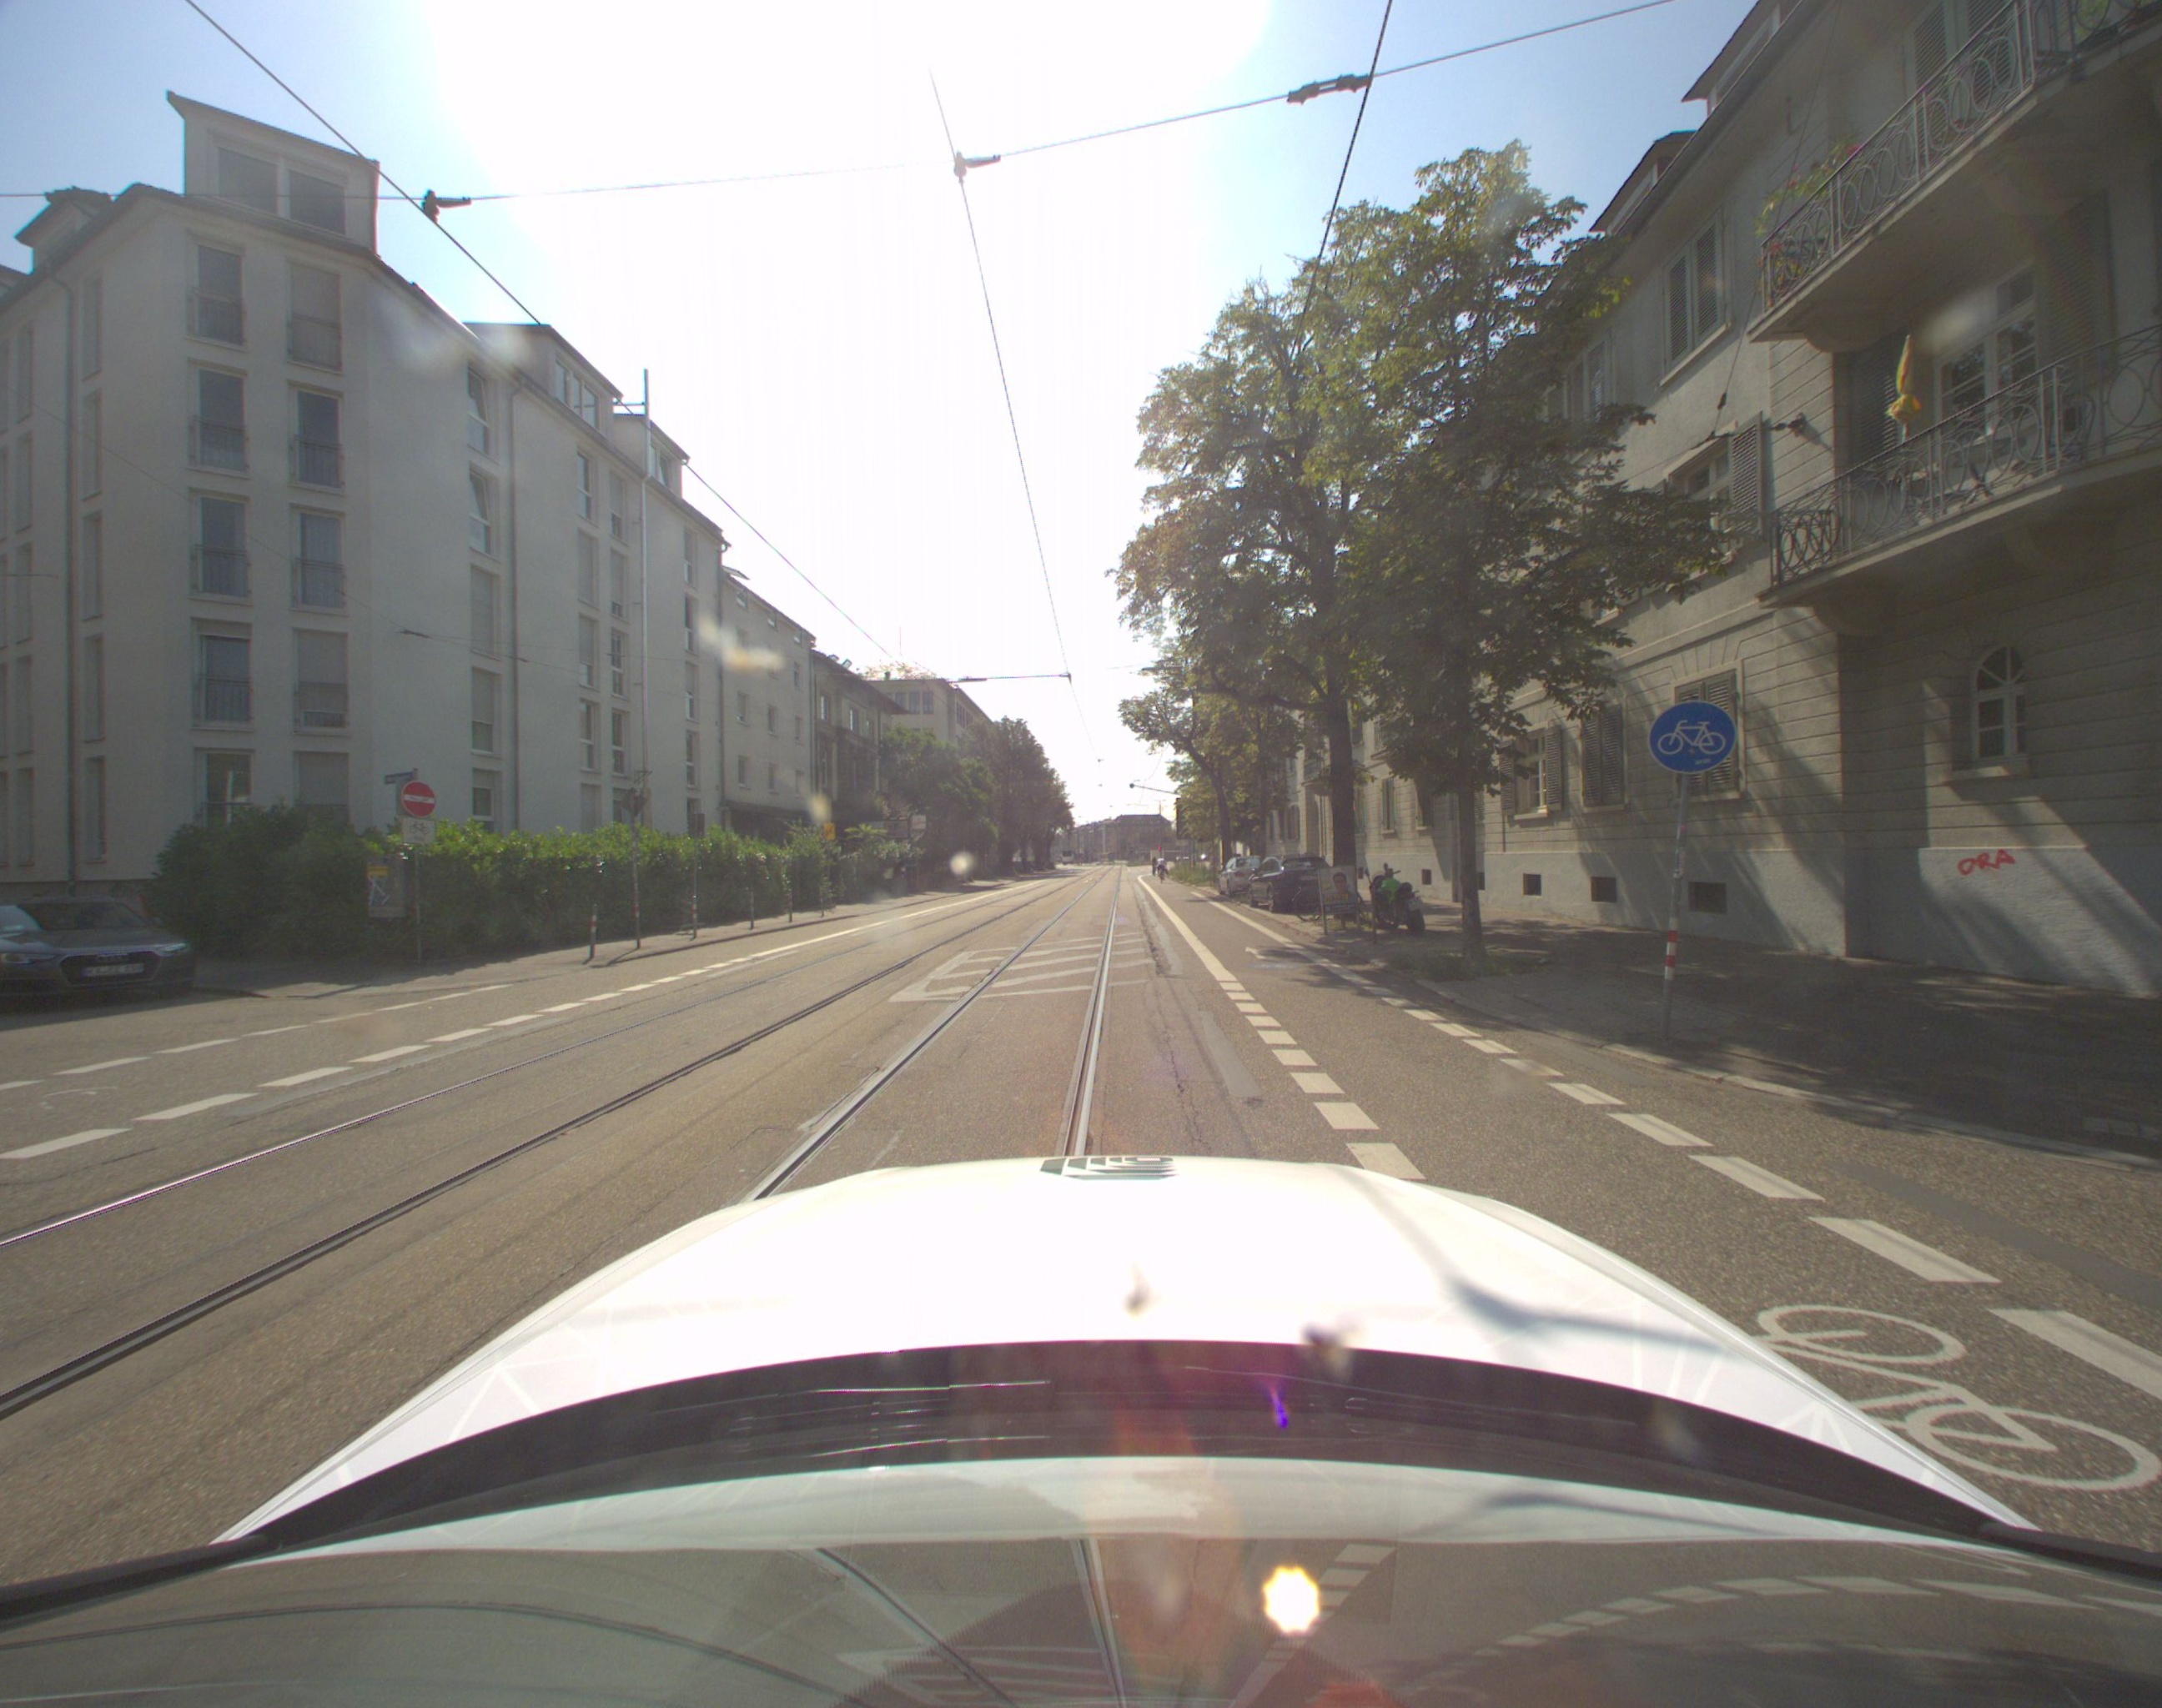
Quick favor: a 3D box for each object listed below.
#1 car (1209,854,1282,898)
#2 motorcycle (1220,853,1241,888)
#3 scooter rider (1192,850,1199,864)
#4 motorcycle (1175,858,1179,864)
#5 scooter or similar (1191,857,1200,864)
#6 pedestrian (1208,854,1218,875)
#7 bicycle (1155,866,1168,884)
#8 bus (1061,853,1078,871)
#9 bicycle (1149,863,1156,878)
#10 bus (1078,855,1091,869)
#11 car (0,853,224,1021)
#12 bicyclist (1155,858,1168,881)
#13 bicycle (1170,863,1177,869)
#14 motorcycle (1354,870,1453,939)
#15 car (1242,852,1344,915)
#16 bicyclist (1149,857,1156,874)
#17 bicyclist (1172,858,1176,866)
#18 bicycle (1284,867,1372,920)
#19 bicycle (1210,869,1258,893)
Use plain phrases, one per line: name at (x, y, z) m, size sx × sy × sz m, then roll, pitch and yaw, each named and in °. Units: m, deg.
car at (5.973, 0.760, 30.124) m, size 1.776 × 1.450 × 4.751 m, roll -2°, pitch 0°, yaw 1°
motorcycle at (6.919, 0.734, 37.727) m, size 0.880 × 1.553 × 2.419 m, roll -2°, pitch -1°, yaw 11°
scooter rider at (14.877, 0.391, 105.902) m, size 0.756 × 1.775 × 0.558 m, roll -1°, pitch -1°, yaw 19°
motorcycle at (22.101, 1.623, 188.204) m, size 0.599 × 1.211 × 2.262 m, roll -1°, pitch -1°, yaw 14°
scooter or similar at (14.884, 0.798, 105.901) m, size 0.765 × 0.926 × 1.628 m, roll -1°, pitch 0°, yaw 20°
pedestrian at (10.964, 0.898, 67.592) m, size 0.688 × 1.732 × 0.580 m, roll -1°, pitch -1°, yaw 5°
bicycle at (4.917, 1.267, 49.844) m, size 0.736 × 1.049 × 2.235 m, roll -1°, pitch 0°, yaw 3°
bus at (-2.462, 1.773, 178.969) m, size 2.946 × 3.775 × 10.602 m, roll 0°, pitch -1°, yaw 2°
bicycle at (5.946, 1.374, 67.803) m, size 0.601 × 1.163 × 1.813 m, roll -1°, pitch -1°, yaw 5°
bus at (0.963, 2.293, 224.230) m, size 2.697 × 3.727 × 10.430 m, roll 0°, pitch -1°, yaw 4°
car at (-14.204, 1.009, 11.335) m, size 3.951 × 1.988 × 1.901 m, roll -1°, pitch -1°, yaw 24°
bicyclist at (4.888, 0.950, 49.708) m, size 0.742 × 1.412 × 0.962 m, roll -1°, pitch 0°, yaw 3°
bicycle at (16.793, 2.201, 147.365) m, size 0.440 × 1.117 × 1.455 m, roll -2°, pitch -1°, yaw 43°
motorcycle at (5.808, 0.872, 14.856) m, size 0.824 × 1.111 × 2.498 m, roll -1°, pitch 0°, yaw 1°
car at (5.705, 0.745, 22.408) m, size 1.657 × 1.507 × 4.435 m, roll -2°, pitch 0°, yaw 1°
bicyclist at (5.943, 0.954, 67.801) m, size 0.600 × 1.335 × 0.660 m, roll -1°, pitch -1°, yaw 4°
bicyclist at (16.925, 1.377, 147.555) m, size 0.445 × 1.421 × 0.499 m, roll -2°, pitch -1°, yaw 43°
bicycle at (5.470, 0.859, 18.092) m, size 1.748 × 1.123 × 0.656 m, roll -1°, pitch -1°, yaw 2°
bicycle at (6.410, 1.119, 34.134) m, size 1.913 × 0.952 × 0.722 m, roll -1°, pitch -1°, yaw 5°
